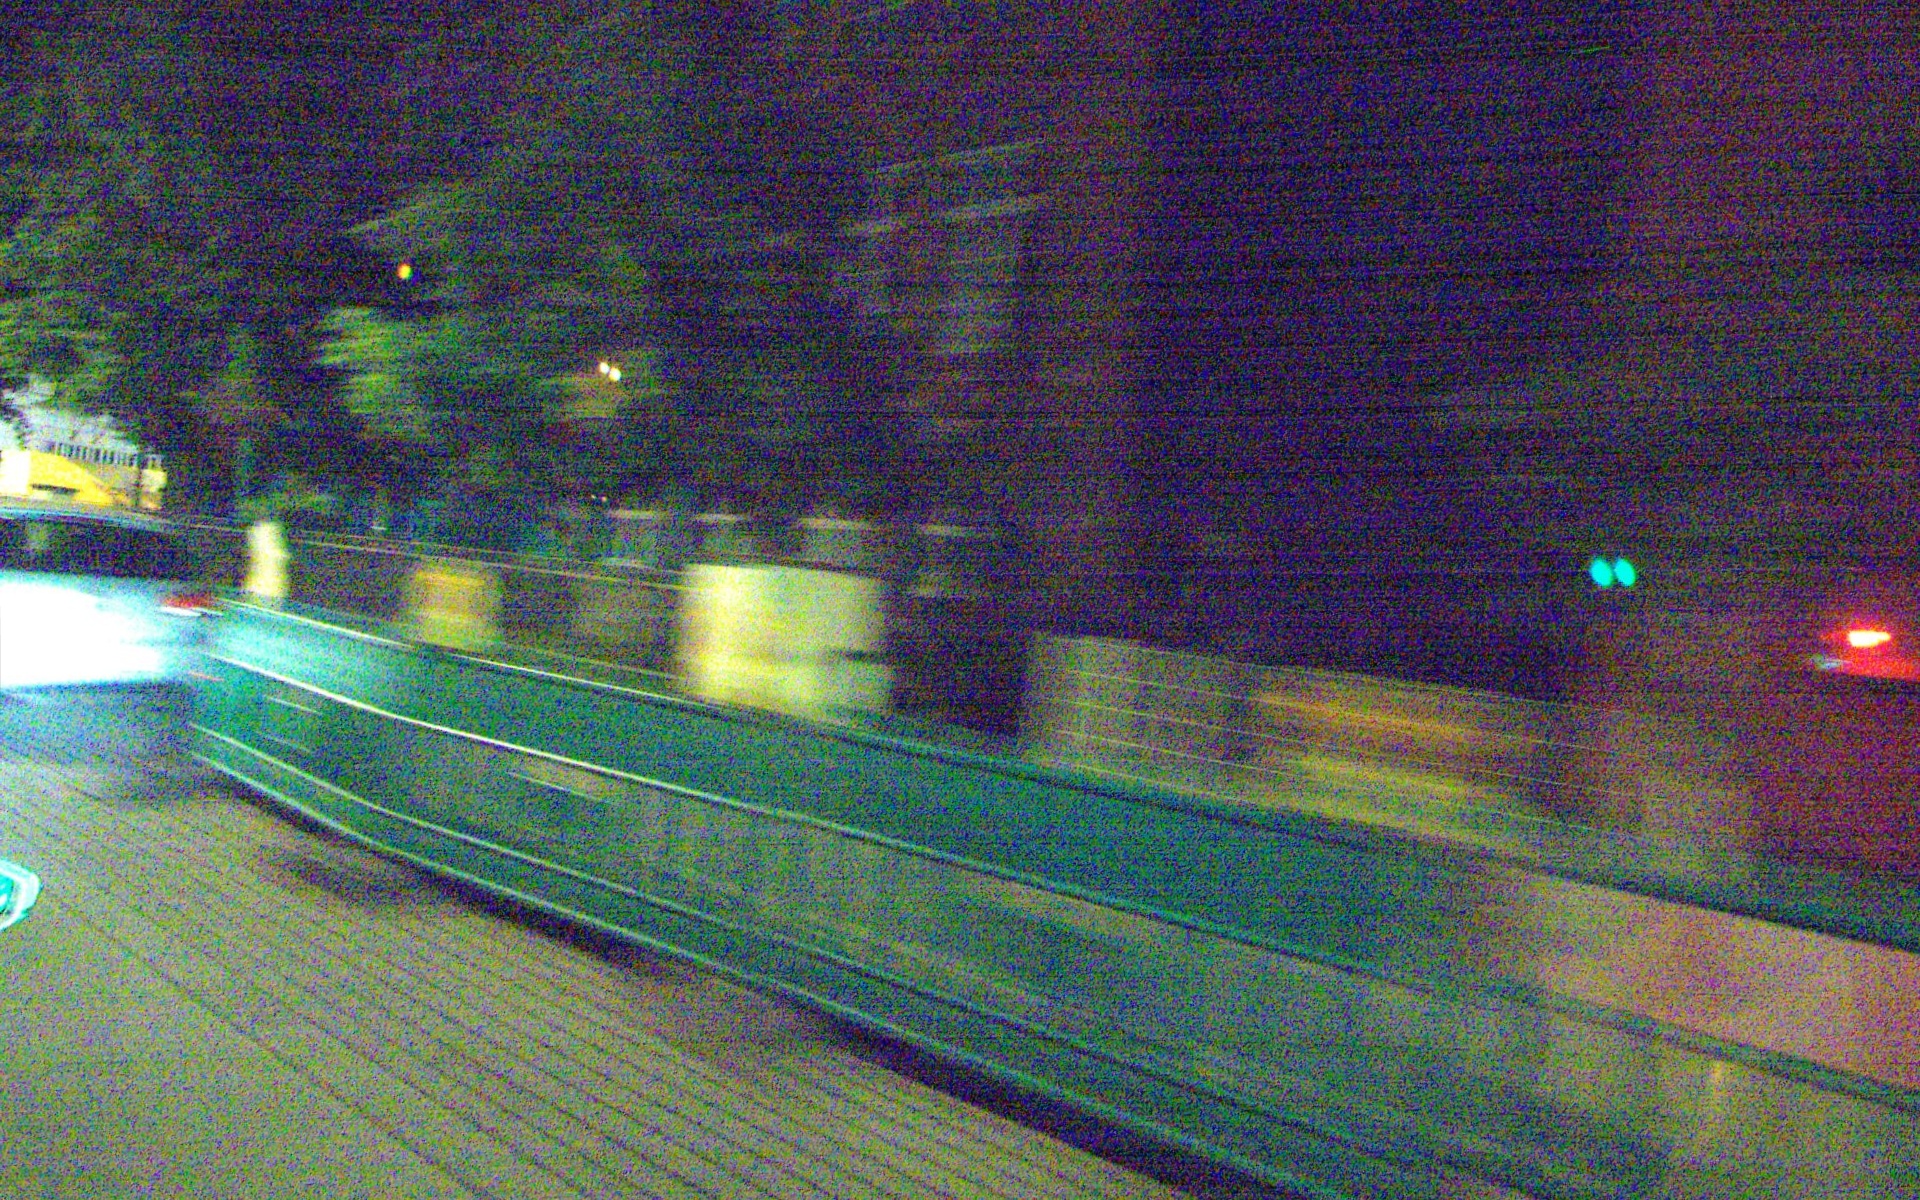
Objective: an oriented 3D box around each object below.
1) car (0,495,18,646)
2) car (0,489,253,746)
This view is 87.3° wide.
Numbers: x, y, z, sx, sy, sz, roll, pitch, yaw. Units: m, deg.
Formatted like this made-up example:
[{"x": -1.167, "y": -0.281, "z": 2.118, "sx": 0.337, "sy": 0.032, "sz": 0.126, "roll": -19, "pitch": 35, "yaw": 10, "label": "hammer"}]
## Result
[{"x": -11.419, "y": -0.531, "z": 10.144, "sx": 4.370, "sy": 1.439, "sz": 1.687, "roll": 7, "pitch": 1, "yaw": 32, "label": "car"}, {"x": -7.115, "y": -0.052, "z": 7.392, "sx": 3.934, "sy": 1.497, "sz": 1.739, "roll": 7, "pitch": 3, "yaw": 32, "label": "car"}]
